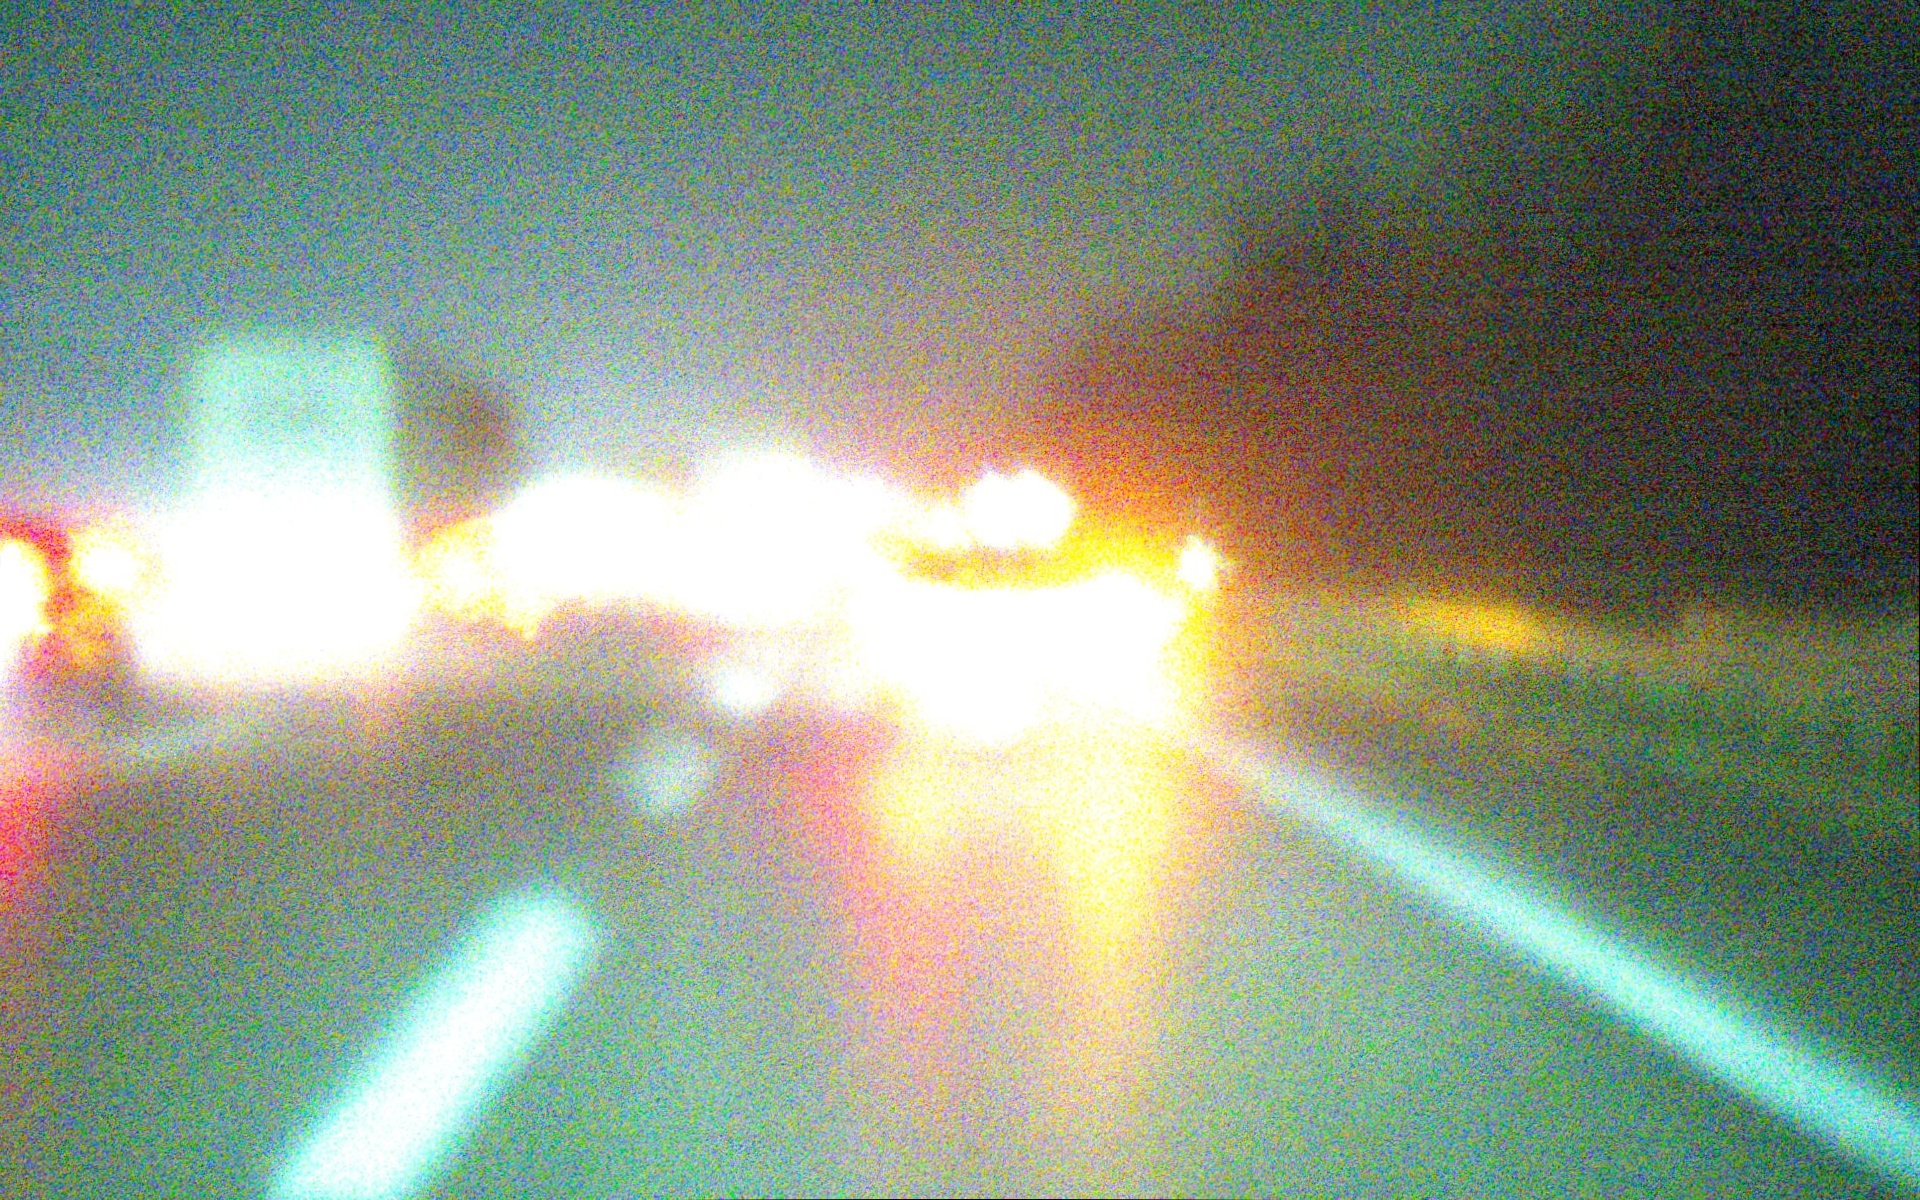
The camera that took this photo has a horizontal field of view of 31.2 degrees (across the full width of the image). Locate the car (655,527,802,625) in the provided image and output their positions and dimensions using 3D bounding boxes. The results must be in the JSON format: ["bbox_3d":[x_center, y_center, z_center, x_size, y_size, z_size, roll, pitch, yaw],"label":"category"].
[{"bbox_3d":[-4.951,-0.534,74.446,2.833,2.007,5.510,1,1,-1],"label":"car"}]

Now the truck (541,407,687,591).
[{"bbox_3d":[-10.767,-3.080,107.979,4.253,5.425,10.886,1,1,-5],"label":"truck"}]

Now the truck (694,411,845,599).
[{"bbox_3d":[-5.690,-2.740,101.662,4.161,5.197,9.956,1,1,-4],"label":"truck"}]

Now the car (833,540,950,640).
[{"bbox_3d":[-1.212,-0.200,61.594,1.993,1.698,4.459,1,1,-1],"label":"car"}]

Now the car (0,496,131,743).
[{"bbox_3d":[-7.784,0.095,26.688,2.038,1.755,4.517,1,1,-6],"label":"car"}]

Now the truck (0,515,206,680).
[{"bbox_3d":[-12.656,-0.081,48.996,2.857,2.193,5.859,1,1,-4],"label":"truck"}]

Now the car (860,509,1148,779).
[{"bbox_3d":[0.275,0.263,24.684,1.878,1.756,4.000,1,1,0],"label":"car"}]

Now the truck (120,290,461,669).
[{"bbox_3d":[-9.148,-1.583,48.247,3.655,4.721,9.854,1,1,-5],"label":"truck"}]
